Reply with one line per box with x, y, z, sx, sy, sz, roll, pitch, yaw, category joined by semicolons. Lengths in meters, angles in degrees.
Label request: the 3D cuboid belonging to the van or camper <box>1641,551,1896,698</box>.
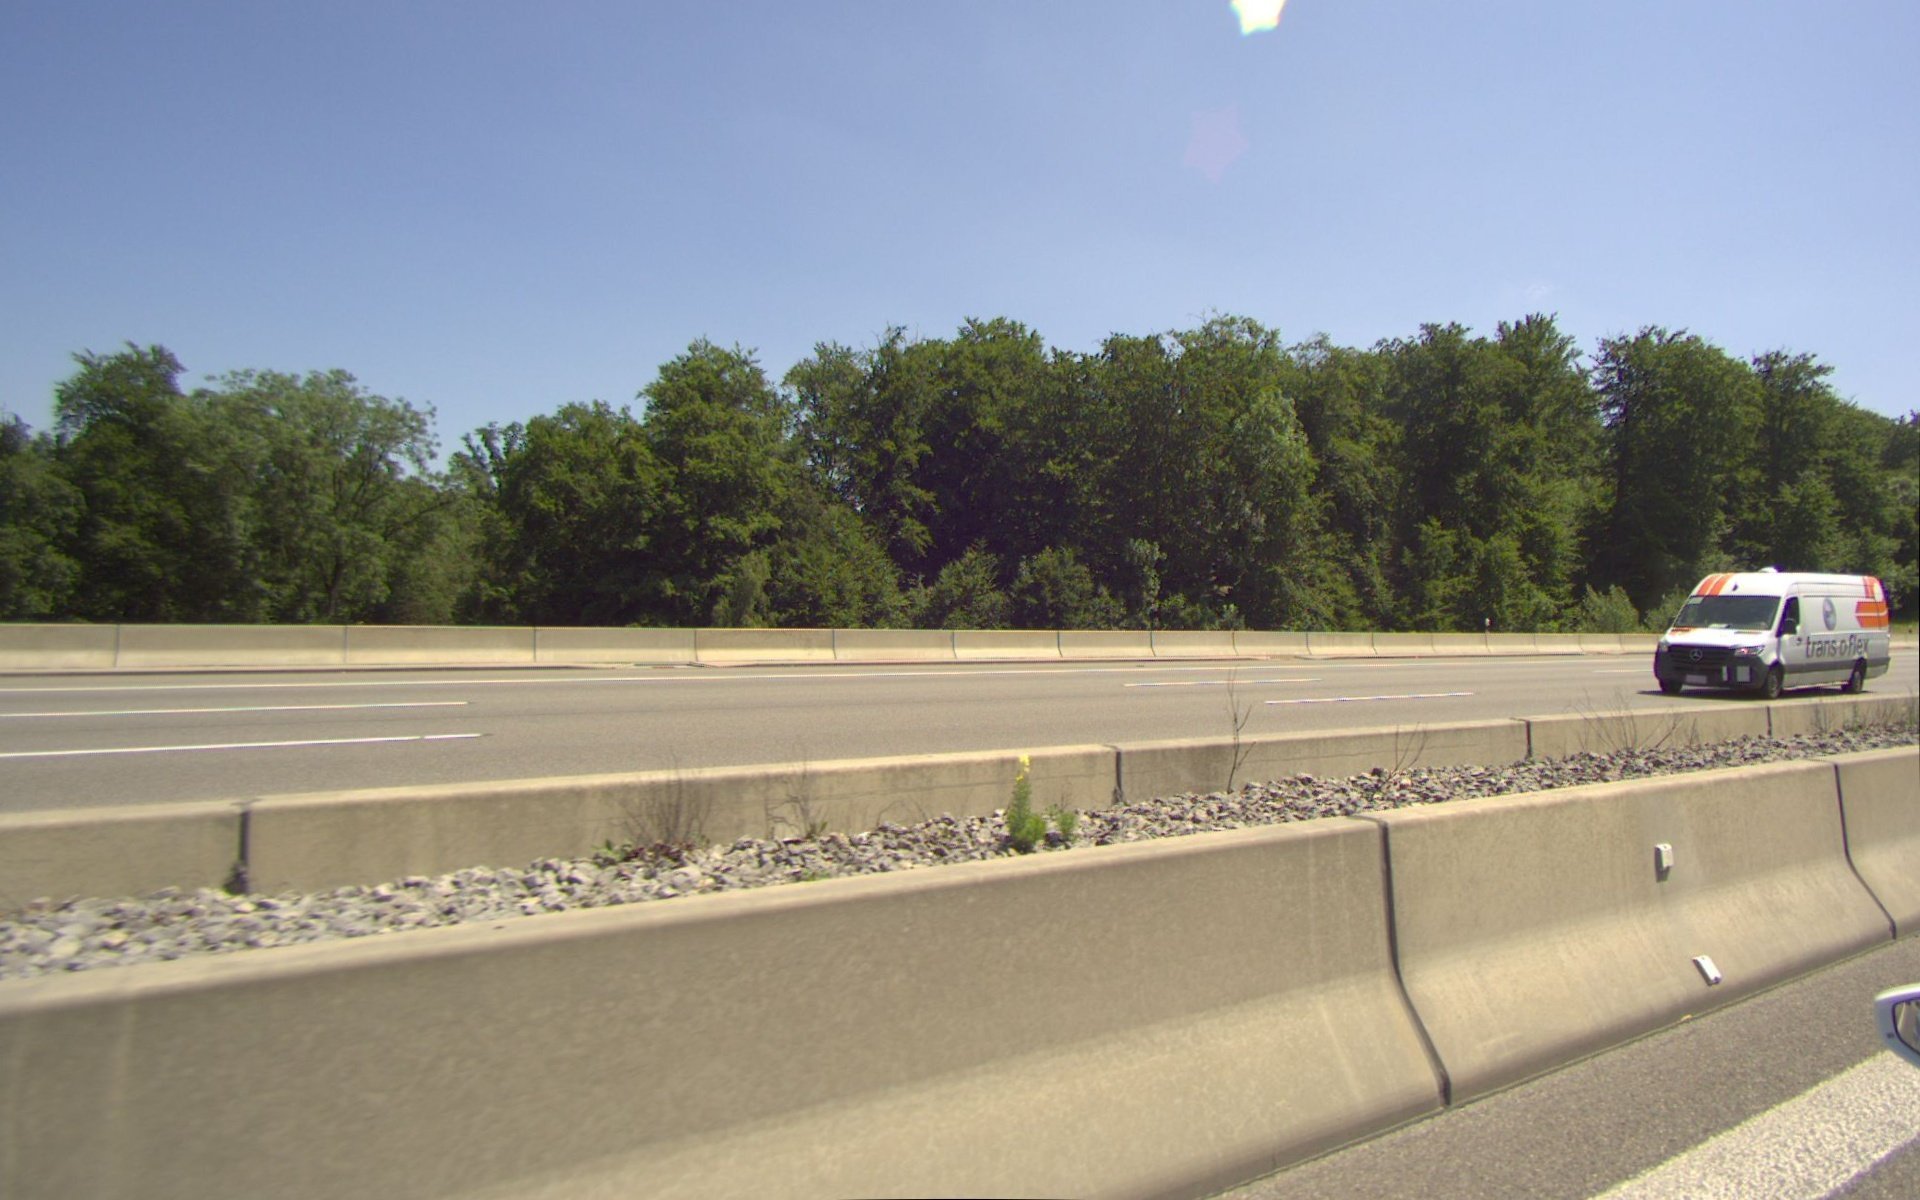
17.920;0.556;22.102;7.330;2.837;1.983;2;0;-31;van or camper
